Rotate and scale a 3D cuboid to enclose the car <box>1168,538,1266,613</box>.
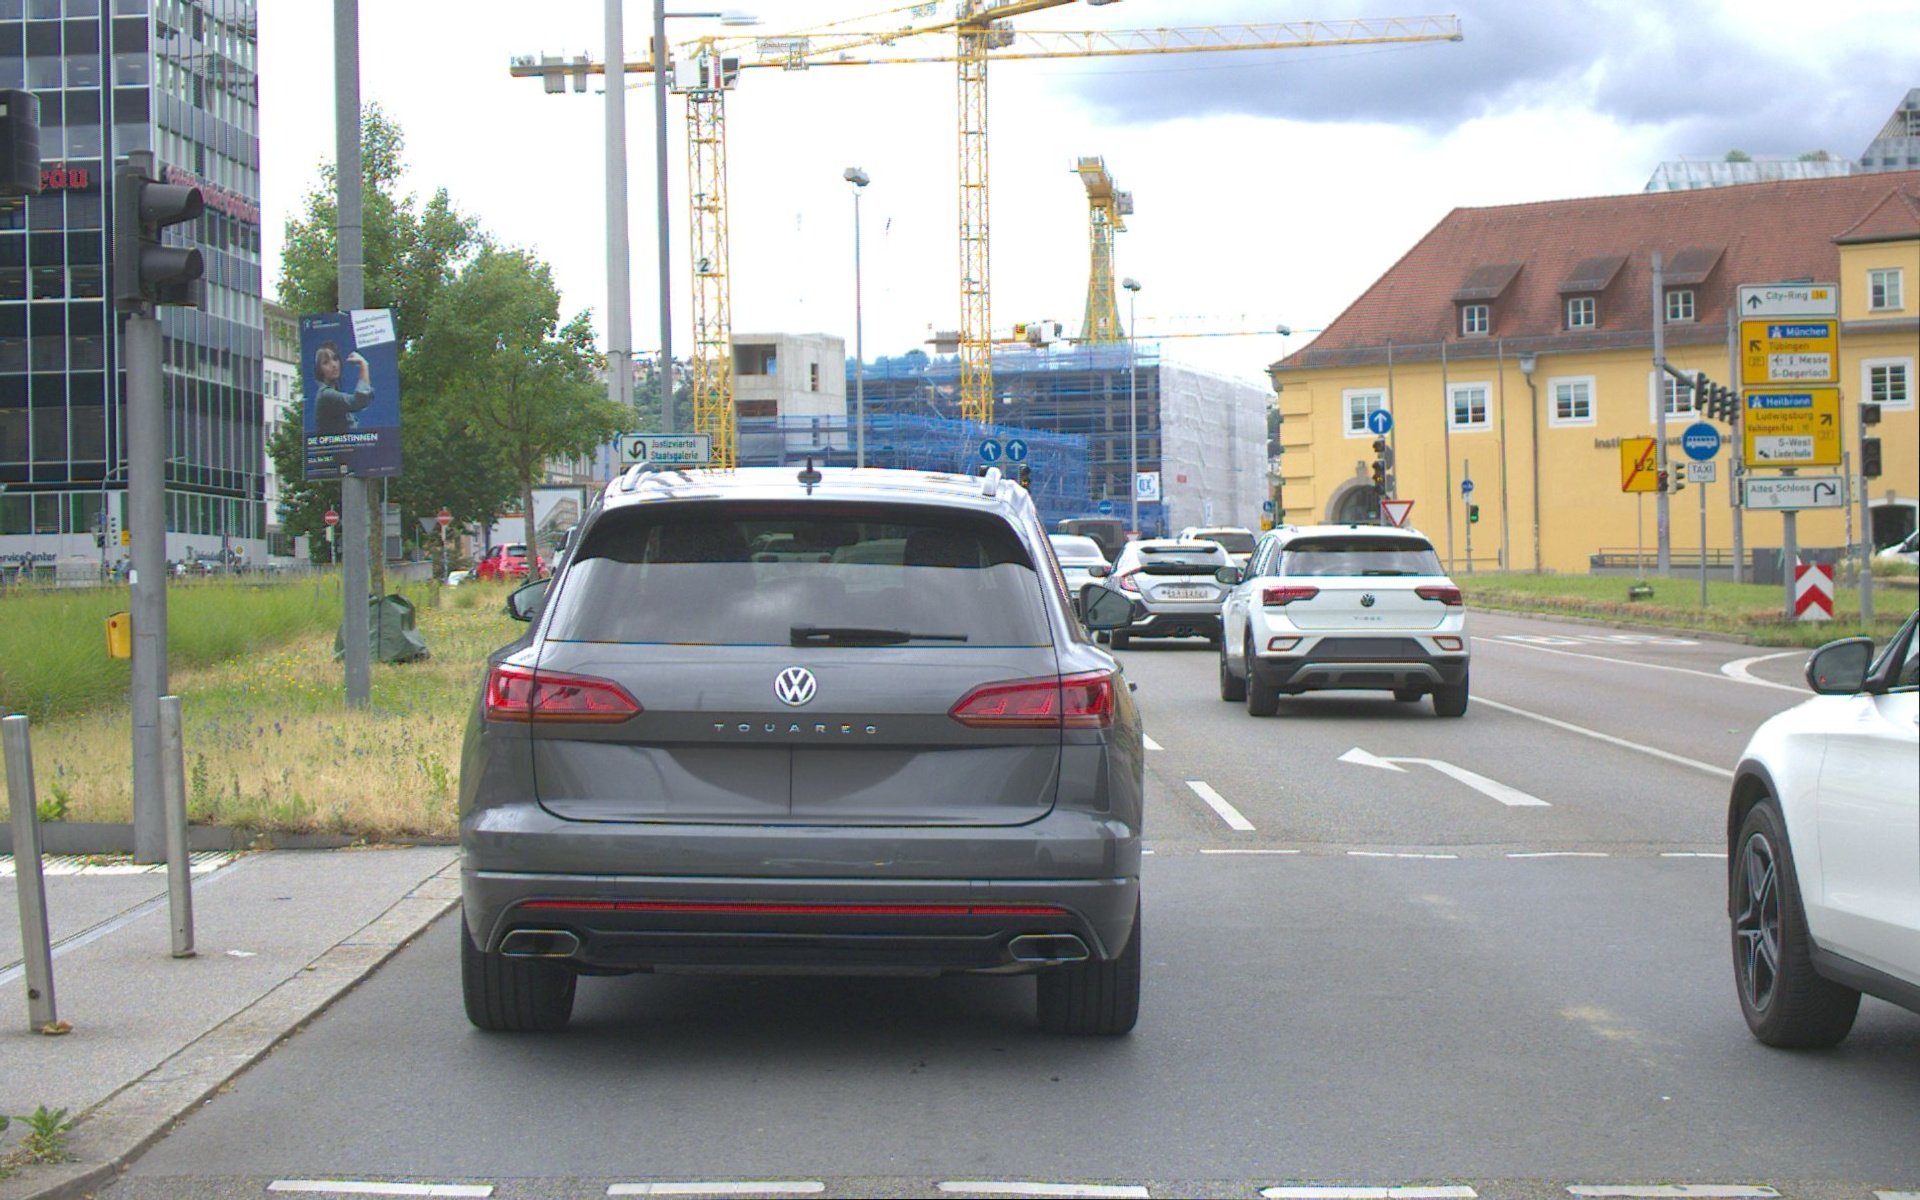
[{"bbox_3d":[5.324,-0.539,71.612,1.803,1.497,3.981,0,1,1],"label":"car"}]

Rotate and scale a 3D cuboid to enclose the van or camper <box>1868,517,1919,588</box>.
[{"bbox_3d":[28.855,-1.353,96.824,6.017,2.007,2.015,0,1,35],"label":"van or camper"}]

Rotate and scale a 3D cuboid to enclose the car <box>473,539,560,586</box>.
[{"bbox_3d":[-14.351,-1.225,111.096,1.718,1.497,3.982,0,1,-24],"label":"car"}]

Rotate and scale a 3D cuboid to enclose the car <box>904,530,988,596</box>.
[{"bbox_3d":[-0.357,-0.895,81.541,1.814,1.491,3.907,-1,1,-3],"label":"car"}]

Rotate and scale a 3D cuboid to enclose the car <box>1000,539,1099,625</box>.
[{"bbox_3d":[1.640,-0.339,61.939,1.719,1.497,3.981,0,1,2],"label":"car"}]

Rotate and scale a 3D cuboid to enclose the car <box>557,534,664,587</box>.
[{"bbox_3d":[-10.220,-1.172,100.283,2.244,1.497,4.613,-1,1,-17],"label":"car"}]

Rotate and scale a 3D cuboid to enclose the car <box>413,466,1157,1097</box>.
[{"bbox_3d":[-0.475,0.427,10.963,1.933,1.641,4.000,0,1,-1],"label":"car"}]

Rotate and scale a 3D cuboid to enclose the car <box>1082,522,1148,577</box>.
[{"bbox_3d":[4.329,-1.444,96.693,1.719,1.497,3.981,0,1,1],"label":"car"}]

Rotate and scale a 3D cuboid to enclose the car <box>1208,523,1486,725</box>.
[{"bbox_3d":[3.194,0.146,29.032,1.893,1.580,3.801,0,1,0],"label":"car"}]

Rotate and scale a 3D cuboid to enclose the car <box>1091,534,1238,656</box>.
[{"bbox_3d":[2.639,-0.100,45.095,1.719,1.497,4.144,0,1,1],"label":"car"}]

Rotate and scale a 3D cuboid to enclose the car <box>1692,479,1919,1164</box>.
[{"bbox_3d":[3.204,0.526,8.375,1.819,1.641,4.379,0,1,-1],"label":"car"}]
